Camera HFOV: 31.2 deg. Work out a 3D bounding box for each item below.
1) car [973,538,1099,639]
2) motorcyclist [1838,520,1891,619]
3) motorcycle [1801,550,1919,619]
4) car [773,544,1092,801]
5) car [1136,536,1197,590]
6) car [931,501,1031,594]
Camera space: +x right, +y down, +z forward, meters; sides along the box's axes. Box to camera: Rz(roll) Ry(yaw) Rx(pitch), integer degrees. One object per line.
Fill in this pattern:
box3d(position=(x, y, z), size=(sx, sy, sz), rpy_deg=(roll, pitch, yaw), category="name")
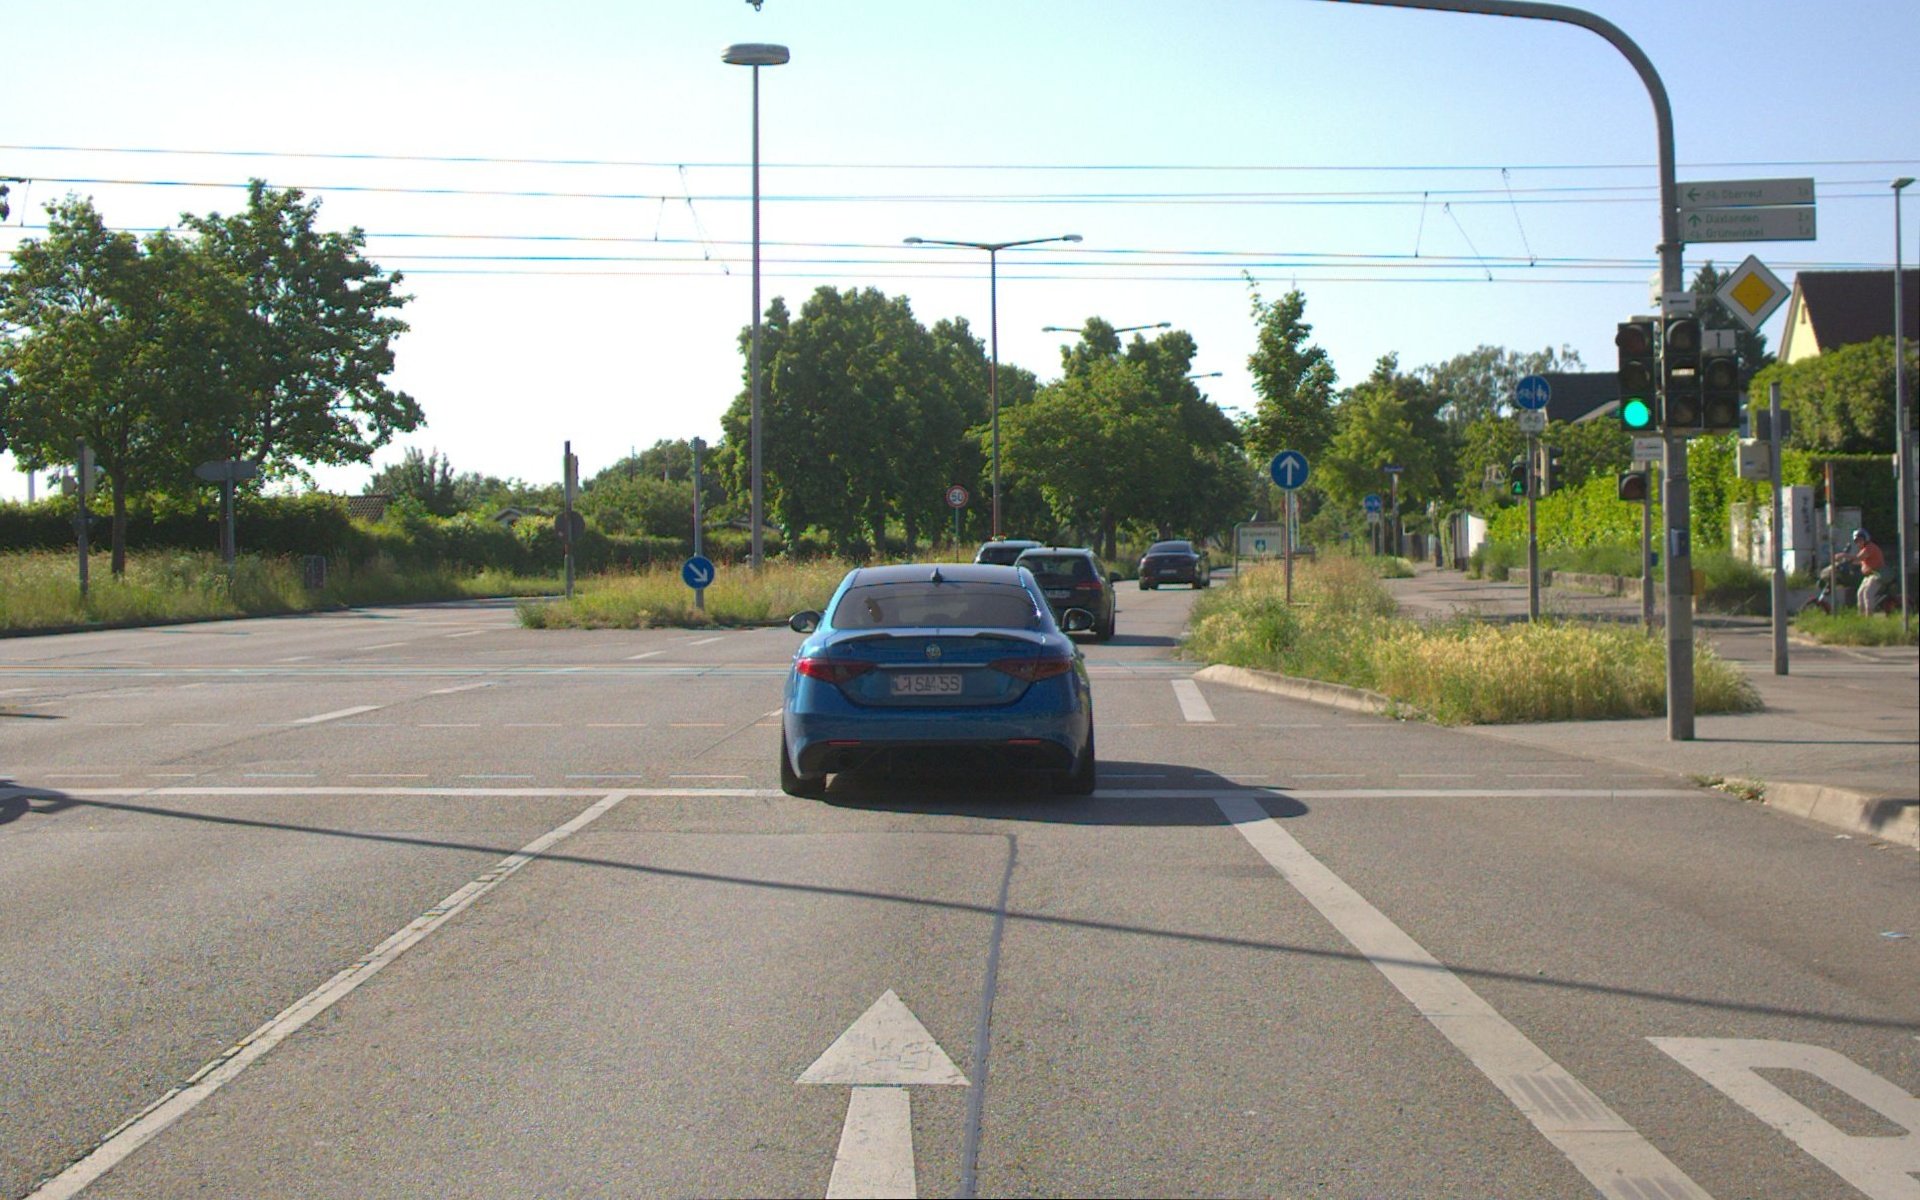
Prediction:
box3d(position=(1.274, -0.214, 55.934), size=(1.915, 1.574, 4.182), rpy_deg=(0, 1, 3), category="car")
box3d(position=(14.442, -0.490, 54.921), size=(0.693, 1.552, 0.700), rpy_deg=(-1, 1, 7), category="motorcyclist")
box3d(position=(14.365, -0.246, 54.870), size=(1.756, 1.067, 0.451), rpy_deg=(-1, 1, 7), category="motorcycle")
box3d(position=(-0.145, 0.385, 21.925), size=(1.838, 1.469, 4.184), rpy_deg=(0, 1, 0), category="car")
box3d(position=(6.271, -1.130, 103.982), size=(1.661, 1.574, 3.808), rpy_deg=(0, 1, 6), category="car")
box3d(position=(0.493, -1.156, 76.286), size=(1.793, 2.007, 3.999), rpy_deg=(0, 1, 7), category="car")
